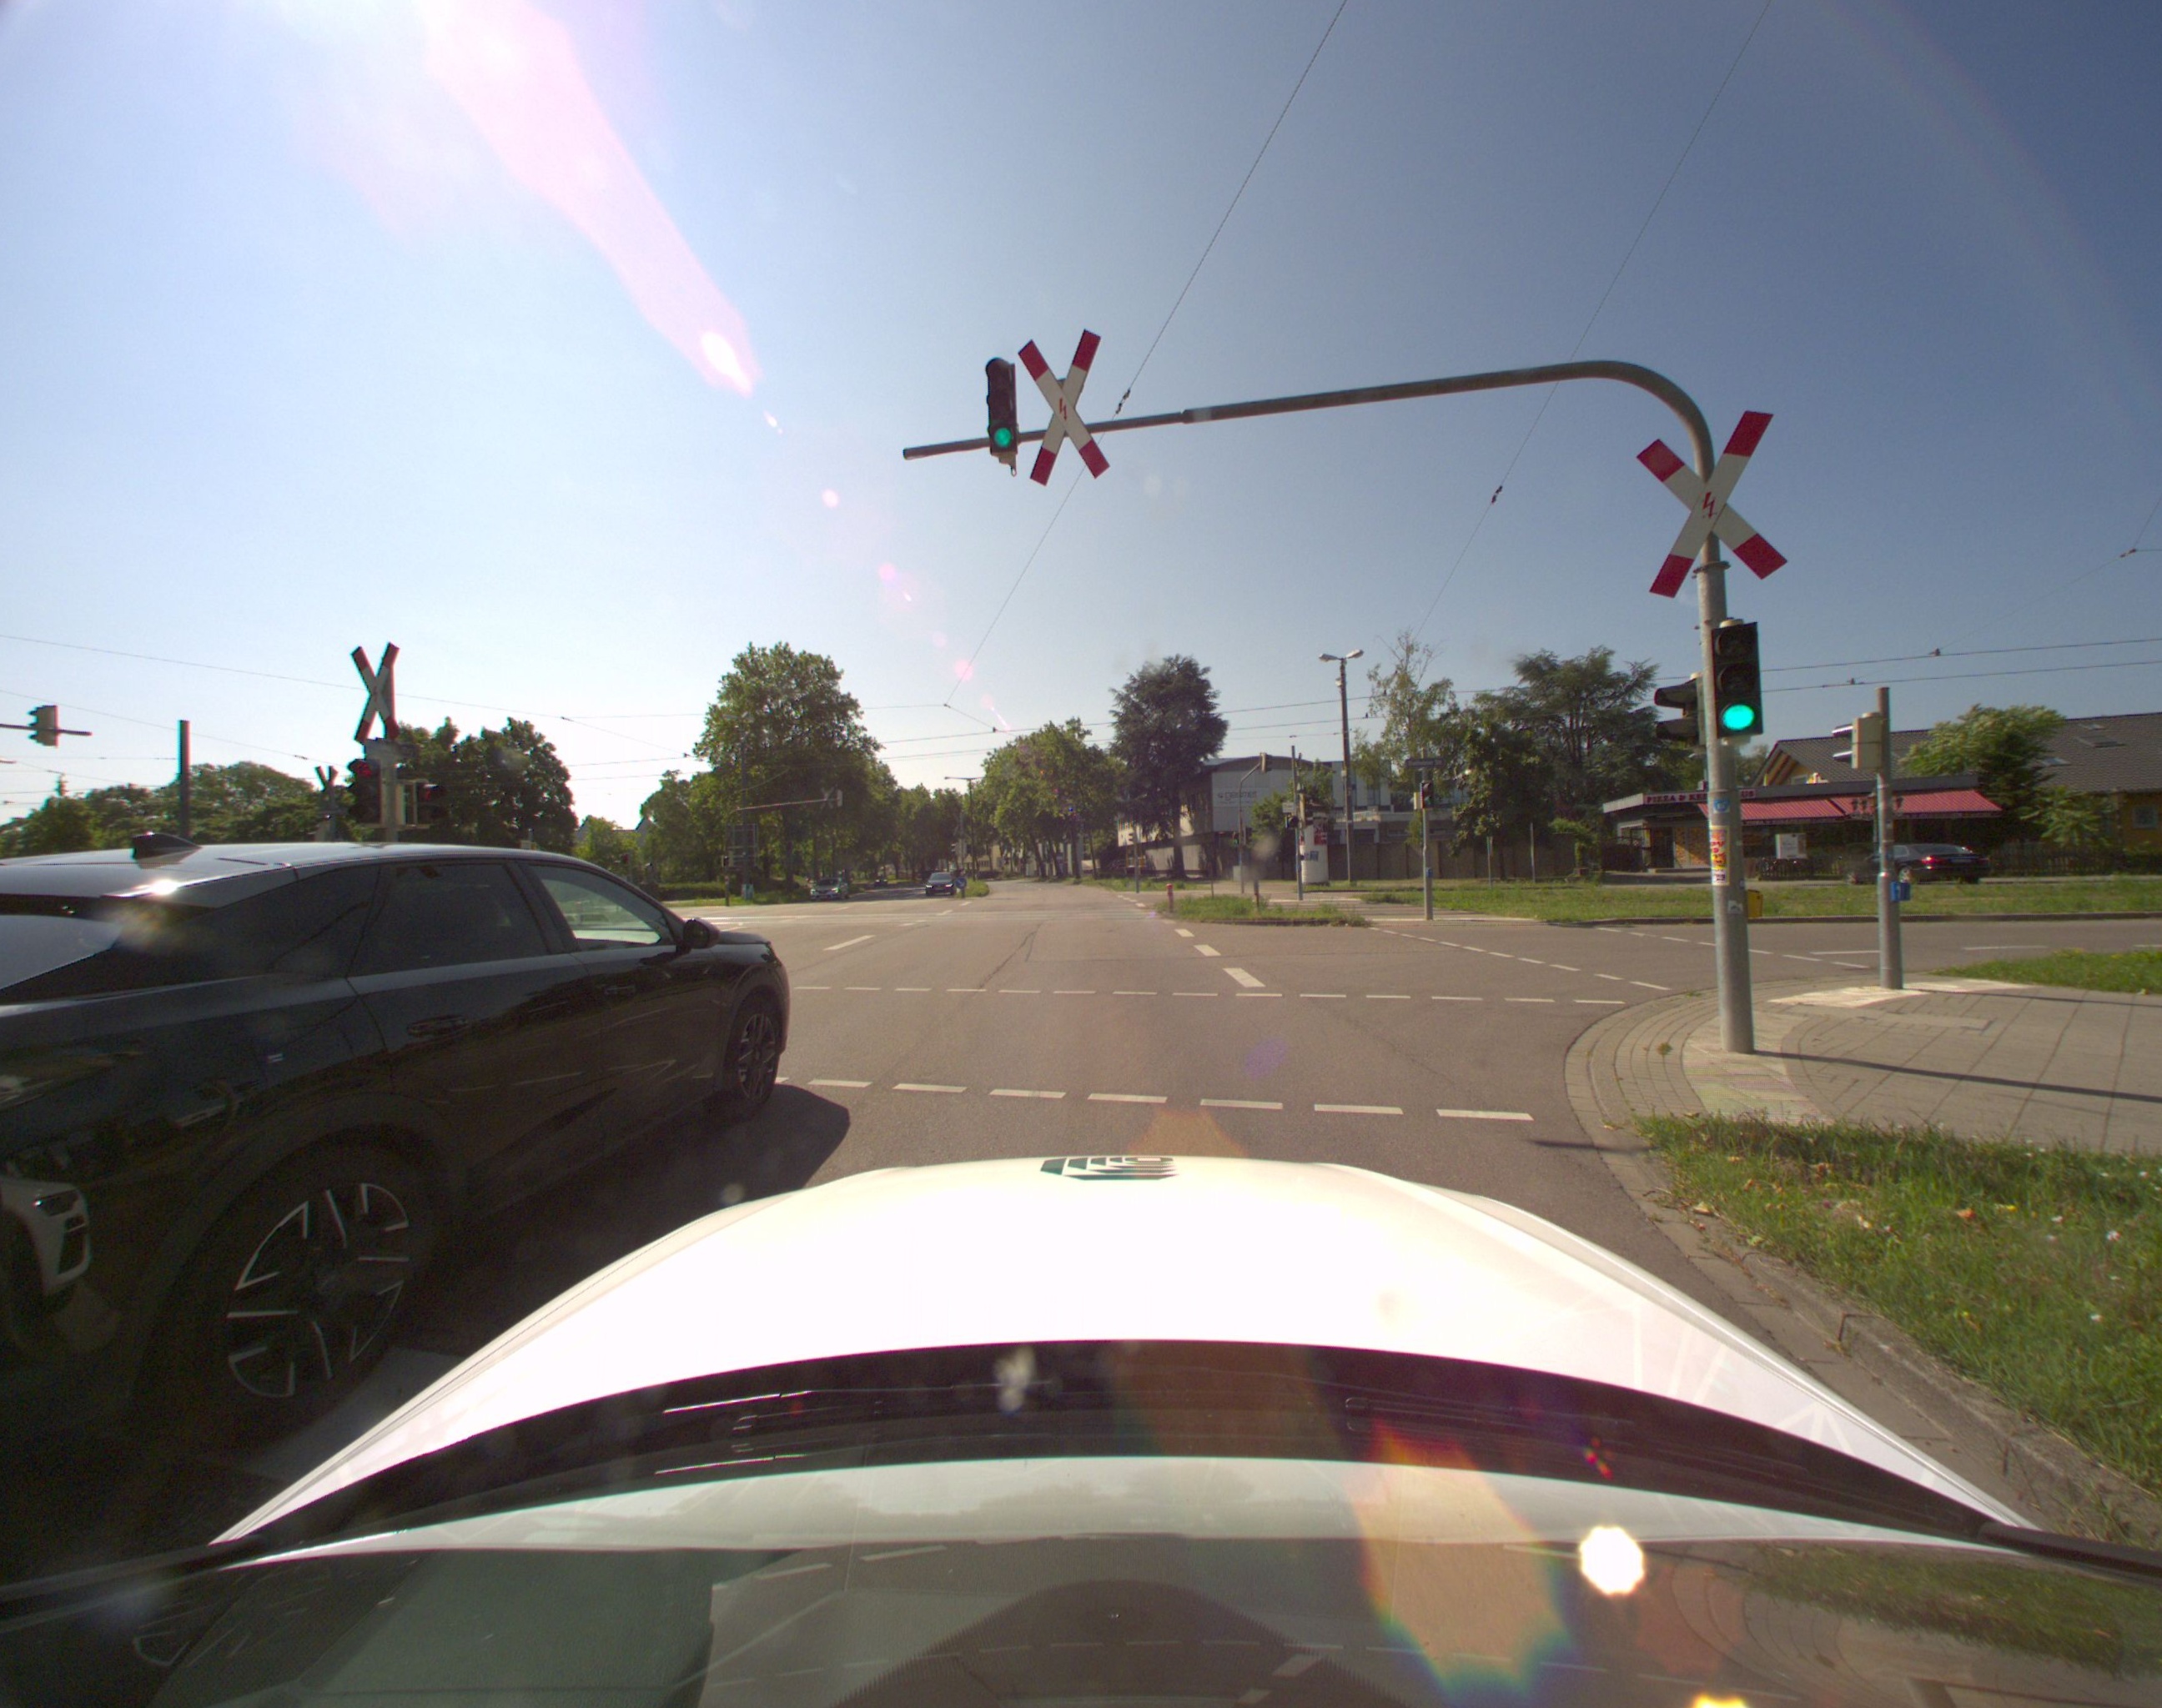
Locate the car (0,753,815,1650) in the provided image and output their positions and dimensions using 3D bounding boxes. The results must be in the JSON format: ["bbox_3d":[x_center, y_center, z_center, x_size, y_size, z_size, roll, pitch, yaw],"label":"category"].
[{"bbox_3d":[-2.906,0.703,3.559,1.865,1.696,4.437,-1,-1,2],"label":"car"}]

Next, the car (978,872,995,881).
[{"bbox_3d":[-16.448,3.870,141.977,1.714,1.487,4.684,-3,0,-22],"label":"car"}]

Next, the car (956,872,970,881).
[{"bbox_3d":[-23.734,4.572,163.635,1.714,1.669,4.498,-2,-1,-23],"label":"car"}]

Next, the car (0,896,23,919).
[{"bbox_3d":[-72.894,3.635,54.891,3.299,1.446,1.357,-2,-2,27],"label":"car"}]

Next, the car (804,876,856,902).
[{"bbox_3d":[-16.007,2.195,52.089,1.687,1.508,4.663,-2,-1,2],"label":"car"}]

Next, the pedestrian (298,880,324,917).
[{"bbox_3d":[-43.478,2.491,45.985,0.792,2.014,0.710,-2,-1,-6],"label":"pedestrian"}]

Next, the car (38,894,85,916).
[{"bbox_3d":[-71.747,3.608,57.309,3.299,1.446,1.457,-2,-2,27],"label":"car"}]

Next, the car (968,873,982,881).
[{"bbox_3d":[-19.788,4.255,152.314,1.711,1.455,4.627,-2,-1,-18],"label":"car"}]

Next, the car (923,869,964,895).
[{"bbox_3d":[-8.699,1.774,51.924,1.687,1.508,4.131,-2,-1,2],"label":"car"}]

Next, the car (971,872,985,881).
[{"bbox_3d":[-18.554,4.060,147.030,1.711,1.488,4.075,-2,-1,-18],"label":"car"}]

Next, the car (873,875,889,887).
[{"bbox_3d":[-29.151,3.947,118.578,1.707,1.589,4.421,-3,-1,-7],"label":"car"}]

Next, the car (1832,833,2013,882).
[{"bbox_3d":[29.041,0.196,28.409,2.119,1.499,5.141,-2,-2,17],"label":"car"}]

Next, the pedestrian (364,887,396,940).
[{"bbox_3d":[-21.667,1.829,25.187,0.671,1.561,0.362,-1,-1,-32],"label":"pedestrian"}]
